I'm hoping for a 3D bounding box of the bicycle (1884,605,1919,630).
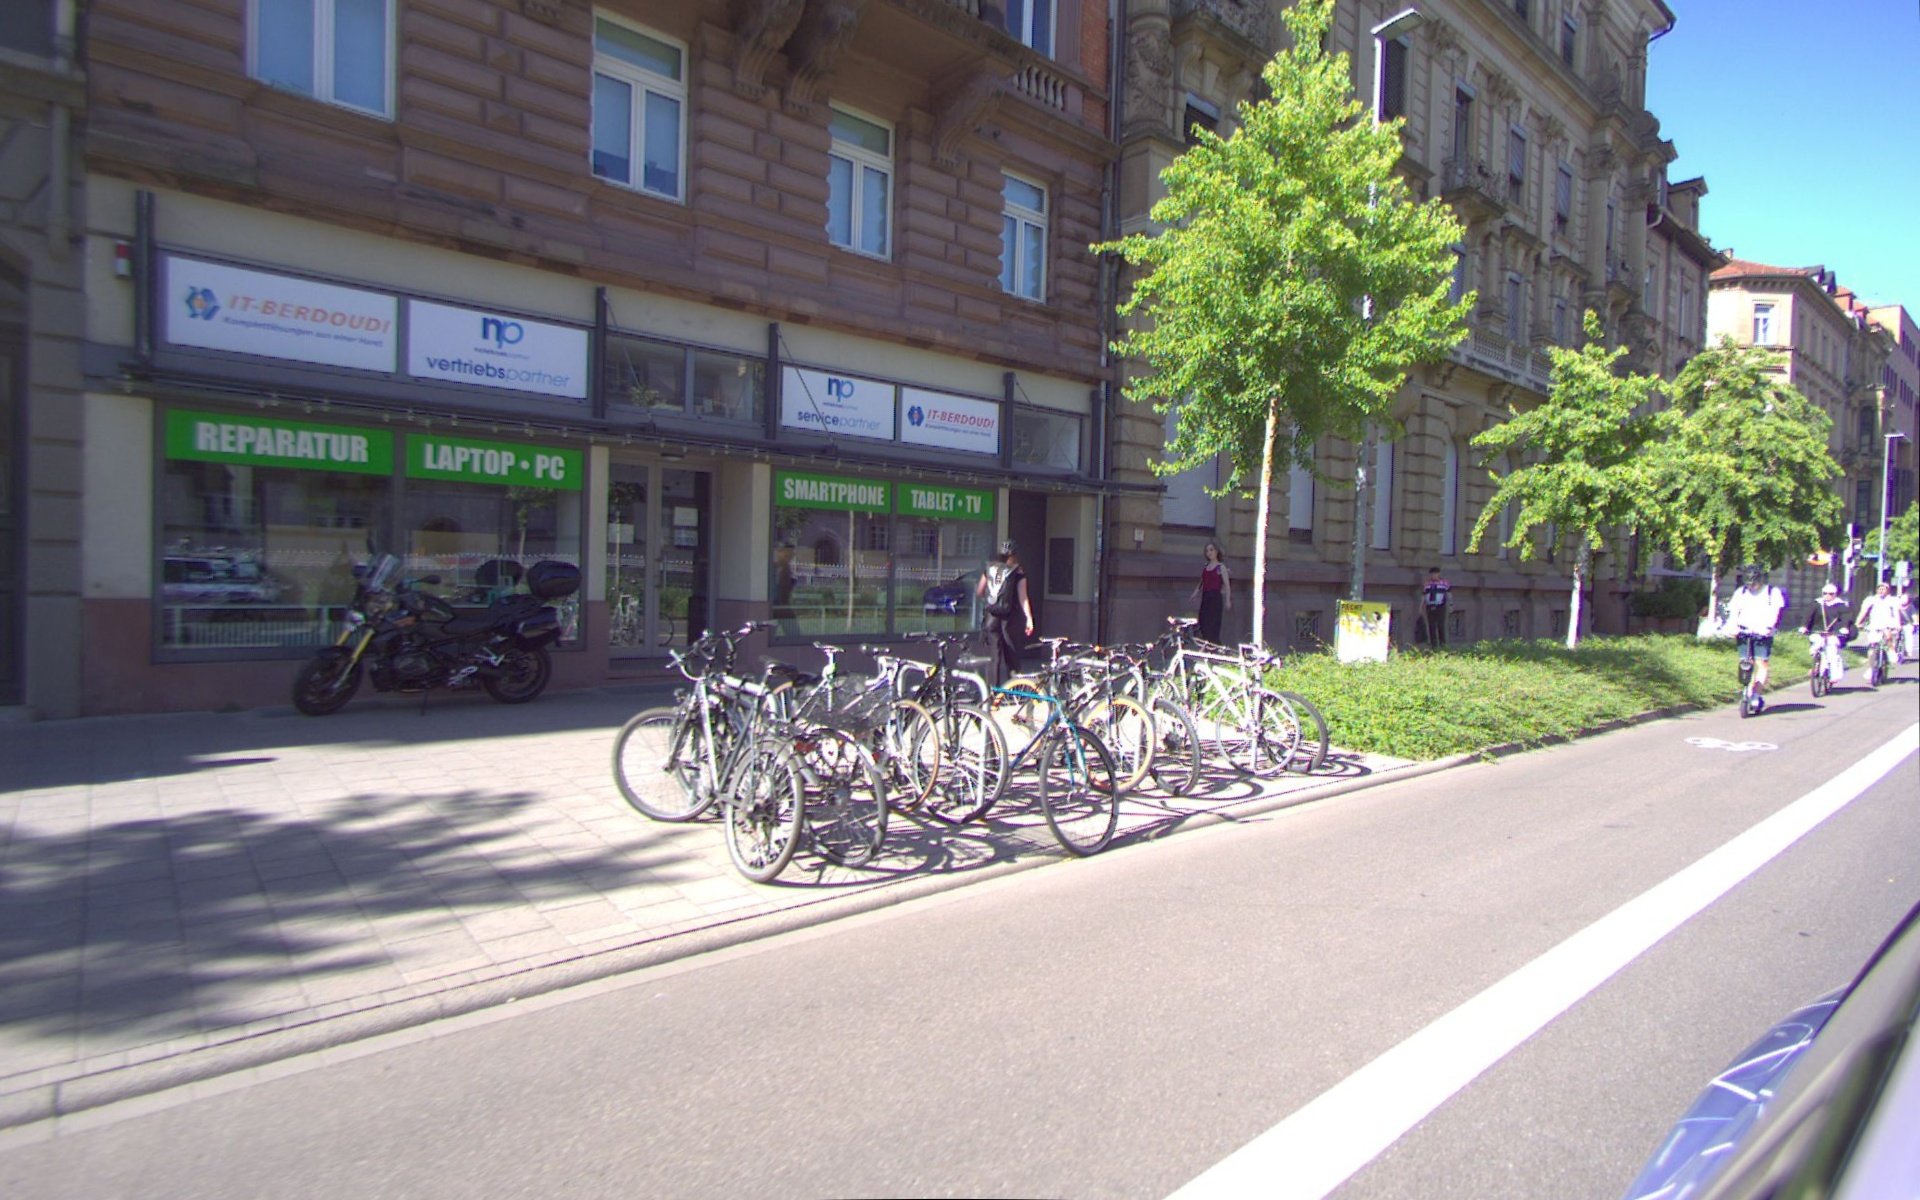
[{"bbox_3d":[43.936,0.818,46.630,1.013,1.043,1.901,0,5,-44],"label":"bicycle"}]

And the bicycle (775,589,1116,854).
[{"bbox_3d":[-0.170,0.618,5.983,2.142,1.168,0.424,7,4,37],"label":"bicycle"}]

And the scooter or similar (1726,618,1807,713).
[{"bbox_3d":[10.691,0.837,13.409,1.131,1.172,0.646,0,1,-42],"label":"scooter or similar"}]

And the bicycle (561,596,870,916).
[{"bbox_3d":[-1.304,0.649,5.053,1.977,1.137,0.474,8,5,45],"label":"bicycle"}]

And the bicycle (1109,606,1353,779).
[{"bbox_3d":[2.158,0.685,8.291,0.509,1.122,1.893,0,4,-45],"label":"bicycle"}]

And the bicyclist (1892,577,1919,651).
[{"bbox_3d":[23.180,0.339,24.459,0.971,1.748,0.853,1,0,-41],"label":"bicyclist"}]

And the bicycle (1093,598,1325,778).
[{"bbox_3d":[1.911,0.629,8.045,0.367,1.193,1.869,0,3,-43],"label":"bicycle"}]

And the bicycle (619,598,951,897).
[{"bbox_3d":[-1.006,0.642,5.321,2.045,1.120,0.601,7,5,44],"label":"bicycle"}]

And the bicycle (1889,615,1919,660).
[{"bbox_3d":[23.165,0.898,24.456,1.918,1.019,0.829,0,1,-41],"label":"bicycle"}]

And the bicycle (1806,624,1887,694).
[{"bbox_3d":[14.435,0.931,16.458,1.918,1.019,0.724,0,1,-41],"label":"bicycle"}]

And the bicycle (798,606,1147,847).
[{"bbox_3d":[-0.008,0.691,6.315,2.279,1.115,0.480,5,4,36],"label":"bicycle"}]

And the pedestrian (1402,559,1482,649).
[{"bbox_3d":[9.668,0.061,20.306,1.094,1.712,0.972,0,4,-39],"label":"pedestrian"}]

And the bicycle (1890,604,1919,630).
[{"bbox_3d":[43.052,0.815,45.379,0.598,1.061,1.873,0,5,-45],"label":"bicycle"}]

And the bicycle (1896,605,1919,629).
[{"bbox_3d":[45.980,0.884,48.093,0.833,1.054,2.062,0,6,-41],"label":"bicycle"}]

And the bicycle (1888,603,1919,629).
[{"bbox_3d":[44.747,0.793,47.415,1.115,1.074,1.677,0,6,-42],"label":"bicycle"}]

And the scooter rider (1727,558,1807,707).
[{"bbox_3d":[10.659,0.411,13.365,0.882,1.890,0.662,1,0,-41],"label":"scooter rider"}]

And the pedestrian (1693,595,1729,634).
[{"bbox_3d":[23.881,0.452,32.197,0.866,1.197,0.719,0,2,-41],"label":"pedestrian"}]

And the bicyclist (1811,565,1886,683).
[{"bbox_3d":[14.444,0.373,16.457,1.071,1.840,0.725,1,0,-39],"label":"bicyclist"}]

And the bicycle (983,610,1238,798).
[{"bbox_3d":[1.041,0.681,7.372,1.816,1.068,0.562,5,4,44],"label":"bicycle"}]

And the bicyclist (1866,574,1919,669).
[{"bbox_3d":[16.989,0.370,18.358,0.960,1.677,0.699,1,0,-42],"label":"bicyclist"}]

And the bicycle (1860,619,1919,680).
[{"bbox_3d":[17.034,0.876,18.427,1.918,1.019,0.724,0,1,-41],"label":"bicycle"}]

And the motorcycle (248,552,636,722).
[{"bbox_3d":[-4.435,0.255,8.907,2.930,1.282,0.867,-1,1,-41],"label":"motorcycle"}]

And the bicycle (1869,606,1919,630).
[{"bbox_3d":[41.481,0.800,44.825,0.488,0.936,1.717,0,2,-40],"label":"bicycle"}]

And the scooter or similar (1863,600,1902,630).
[{"bbox_3d":[39.745,0.652,43.608,0.479,1.212,1.197,1,2,-45],"label":"scooter or similar"}]

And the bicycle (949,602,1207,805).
[{"bbox_3d":[0.759,0.649,7.182,0.428,1.121,1.980,0,4,-43],"label":"bicycle"}]

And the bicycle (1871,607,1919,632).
[{"bbox_3d":[41.180,0.851,44.220,0.580,0.922,1.911,0,4,-32],"label":"bicycle"}]

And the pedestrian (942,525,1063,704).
[{"bbox_3d":[0.460,0.121,10.813,0.844,1.756,0.892,6,5,33],"label":"pedestrian"}]

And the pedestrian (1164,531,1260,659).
[{"bbox_3d":[4.013,-0.090,16.130,1.077,1.943,0.893,1,3,-36],"label":"pedestrian"}]
